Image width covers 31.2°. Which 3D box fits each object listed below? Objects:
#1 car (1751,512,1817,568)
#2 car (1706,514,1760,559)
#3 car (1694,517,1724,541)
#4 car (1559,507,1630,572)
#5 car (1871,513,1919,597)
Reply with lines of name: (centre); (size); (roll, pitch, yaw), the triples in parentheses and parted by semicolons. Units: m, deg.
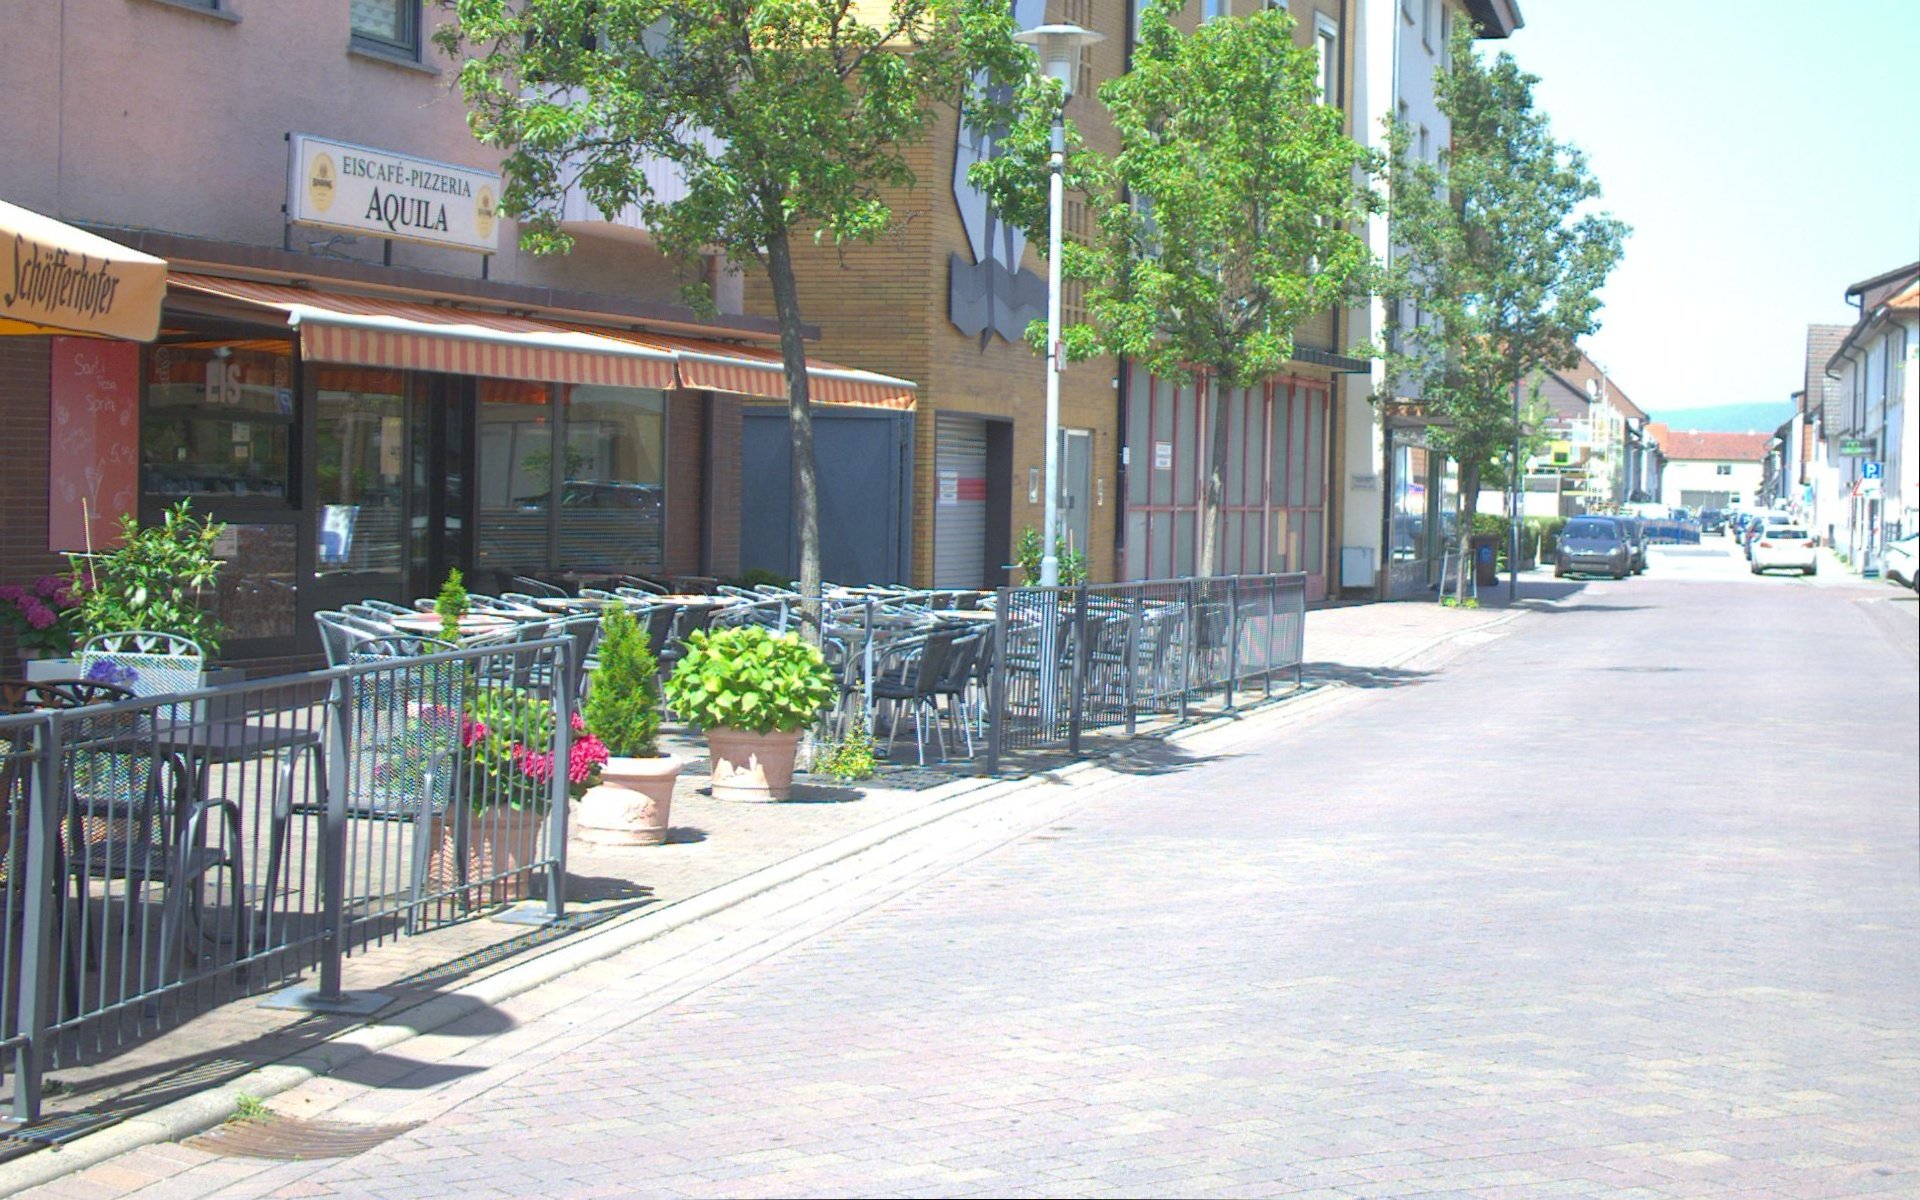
car: (24.729, -1.822, 103.177); (1.832, 1.526, 3.943); (2, 3, 13)
car: (27.586, -2.277, 122.698); (1.748, 1.476, 3.627); (2, 3, 14)
car: (48.867, -4.640, 224.243); (1.748, 1.476, 3.627); (2, 3, 14)
car: (15.883, -1.531, 85.969); (1.508, 1.495, 3.825); (2, 3, 13)
car: (20.272, -0.904, 69.364); (3.479, 1.694, 1.535); (1, 1, 9)
